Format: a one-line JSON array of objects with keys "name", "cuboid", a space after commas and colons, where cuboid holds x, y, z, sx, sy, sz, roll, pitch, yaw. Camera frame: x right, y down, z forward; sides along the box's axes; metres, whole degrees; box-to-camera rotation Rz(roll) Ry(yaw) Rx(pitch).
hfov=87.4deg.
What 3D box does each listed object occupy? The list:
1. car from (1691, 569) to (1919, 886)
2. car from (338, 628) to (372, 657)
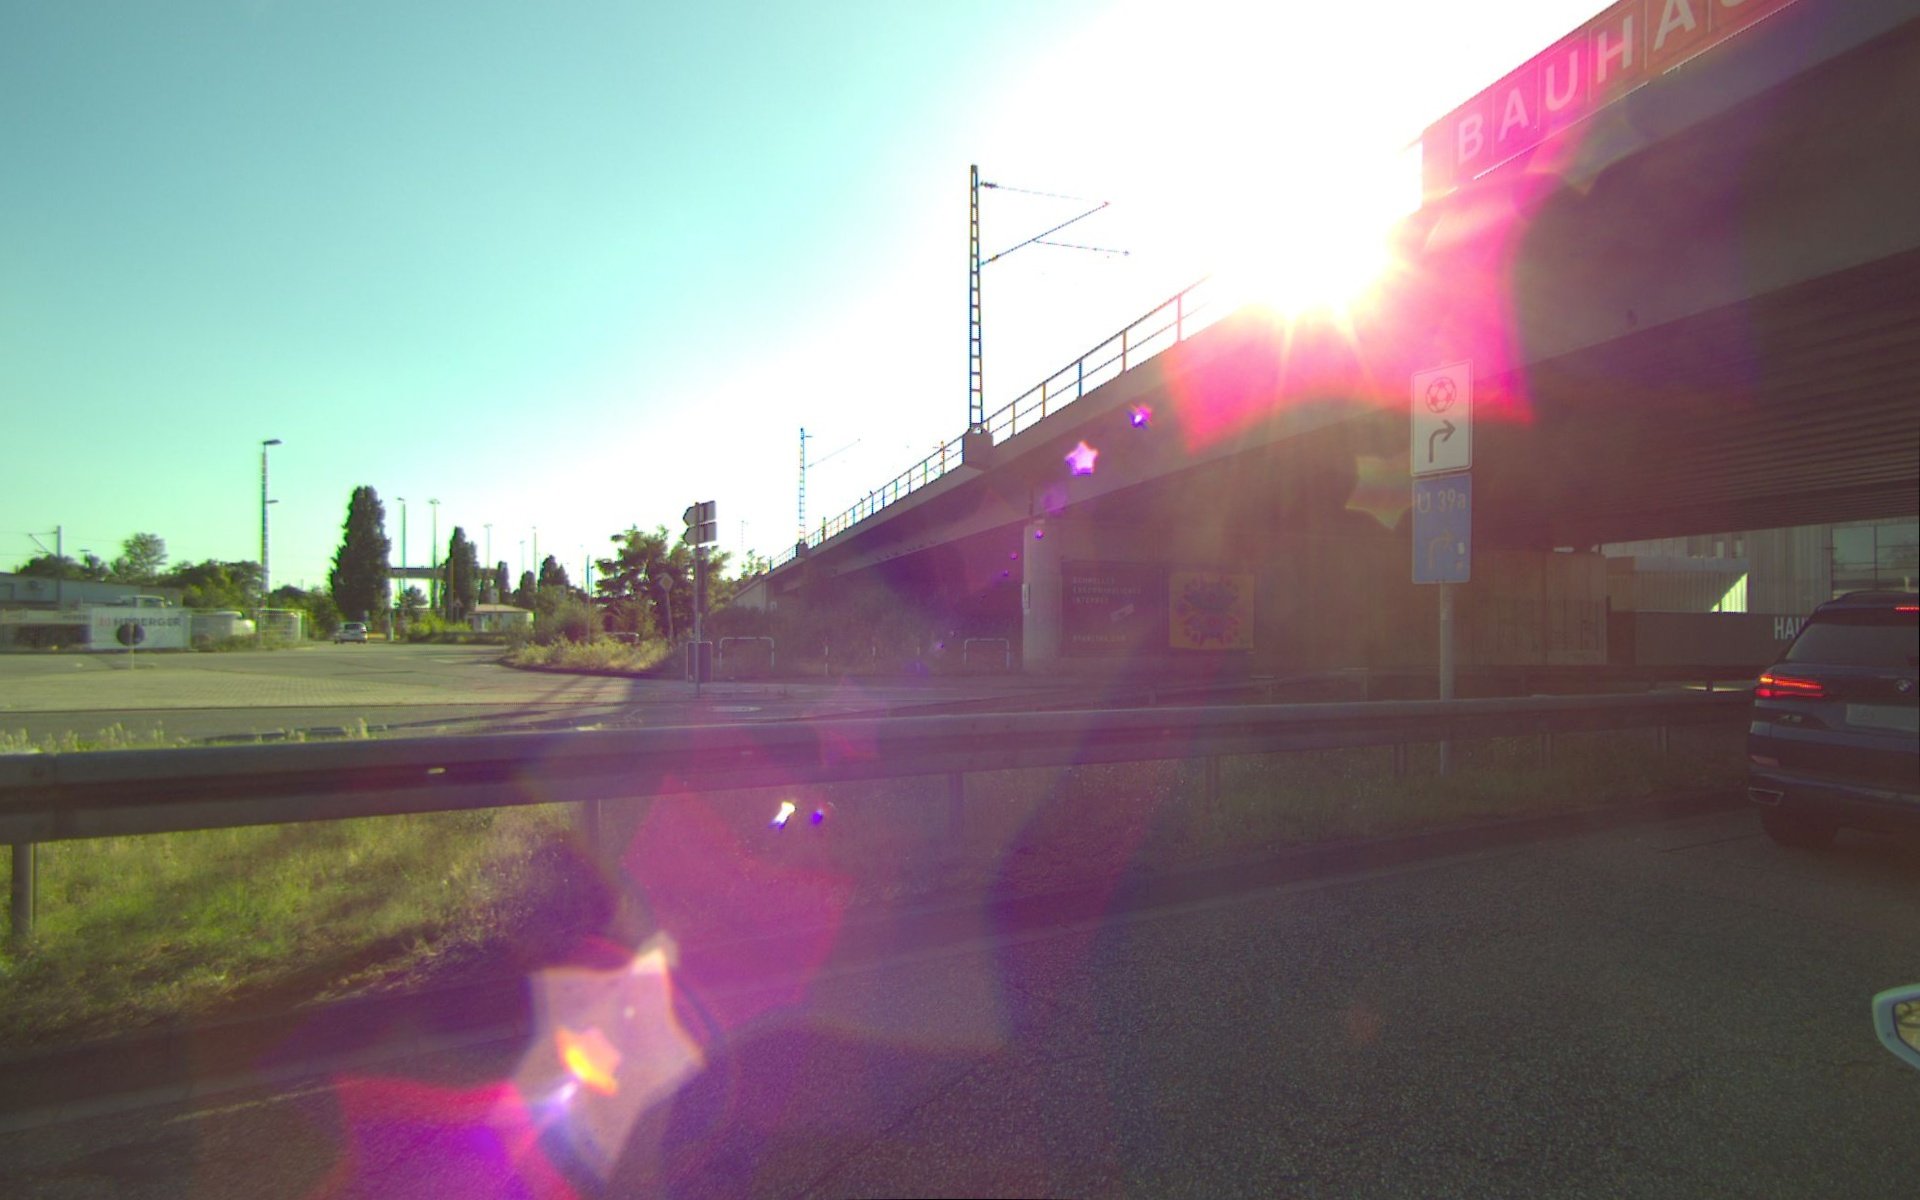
[{"name": "car", "cuboid": [7.249, 0.767, 6.719, 4.474, 1.757, 1.986, 2, 0, -27]}, {"name": "car", "cuboid": [-47.753, 3.333, 79.276, 1.980, 2.040, 3.961, 2, 0, -35]}]
